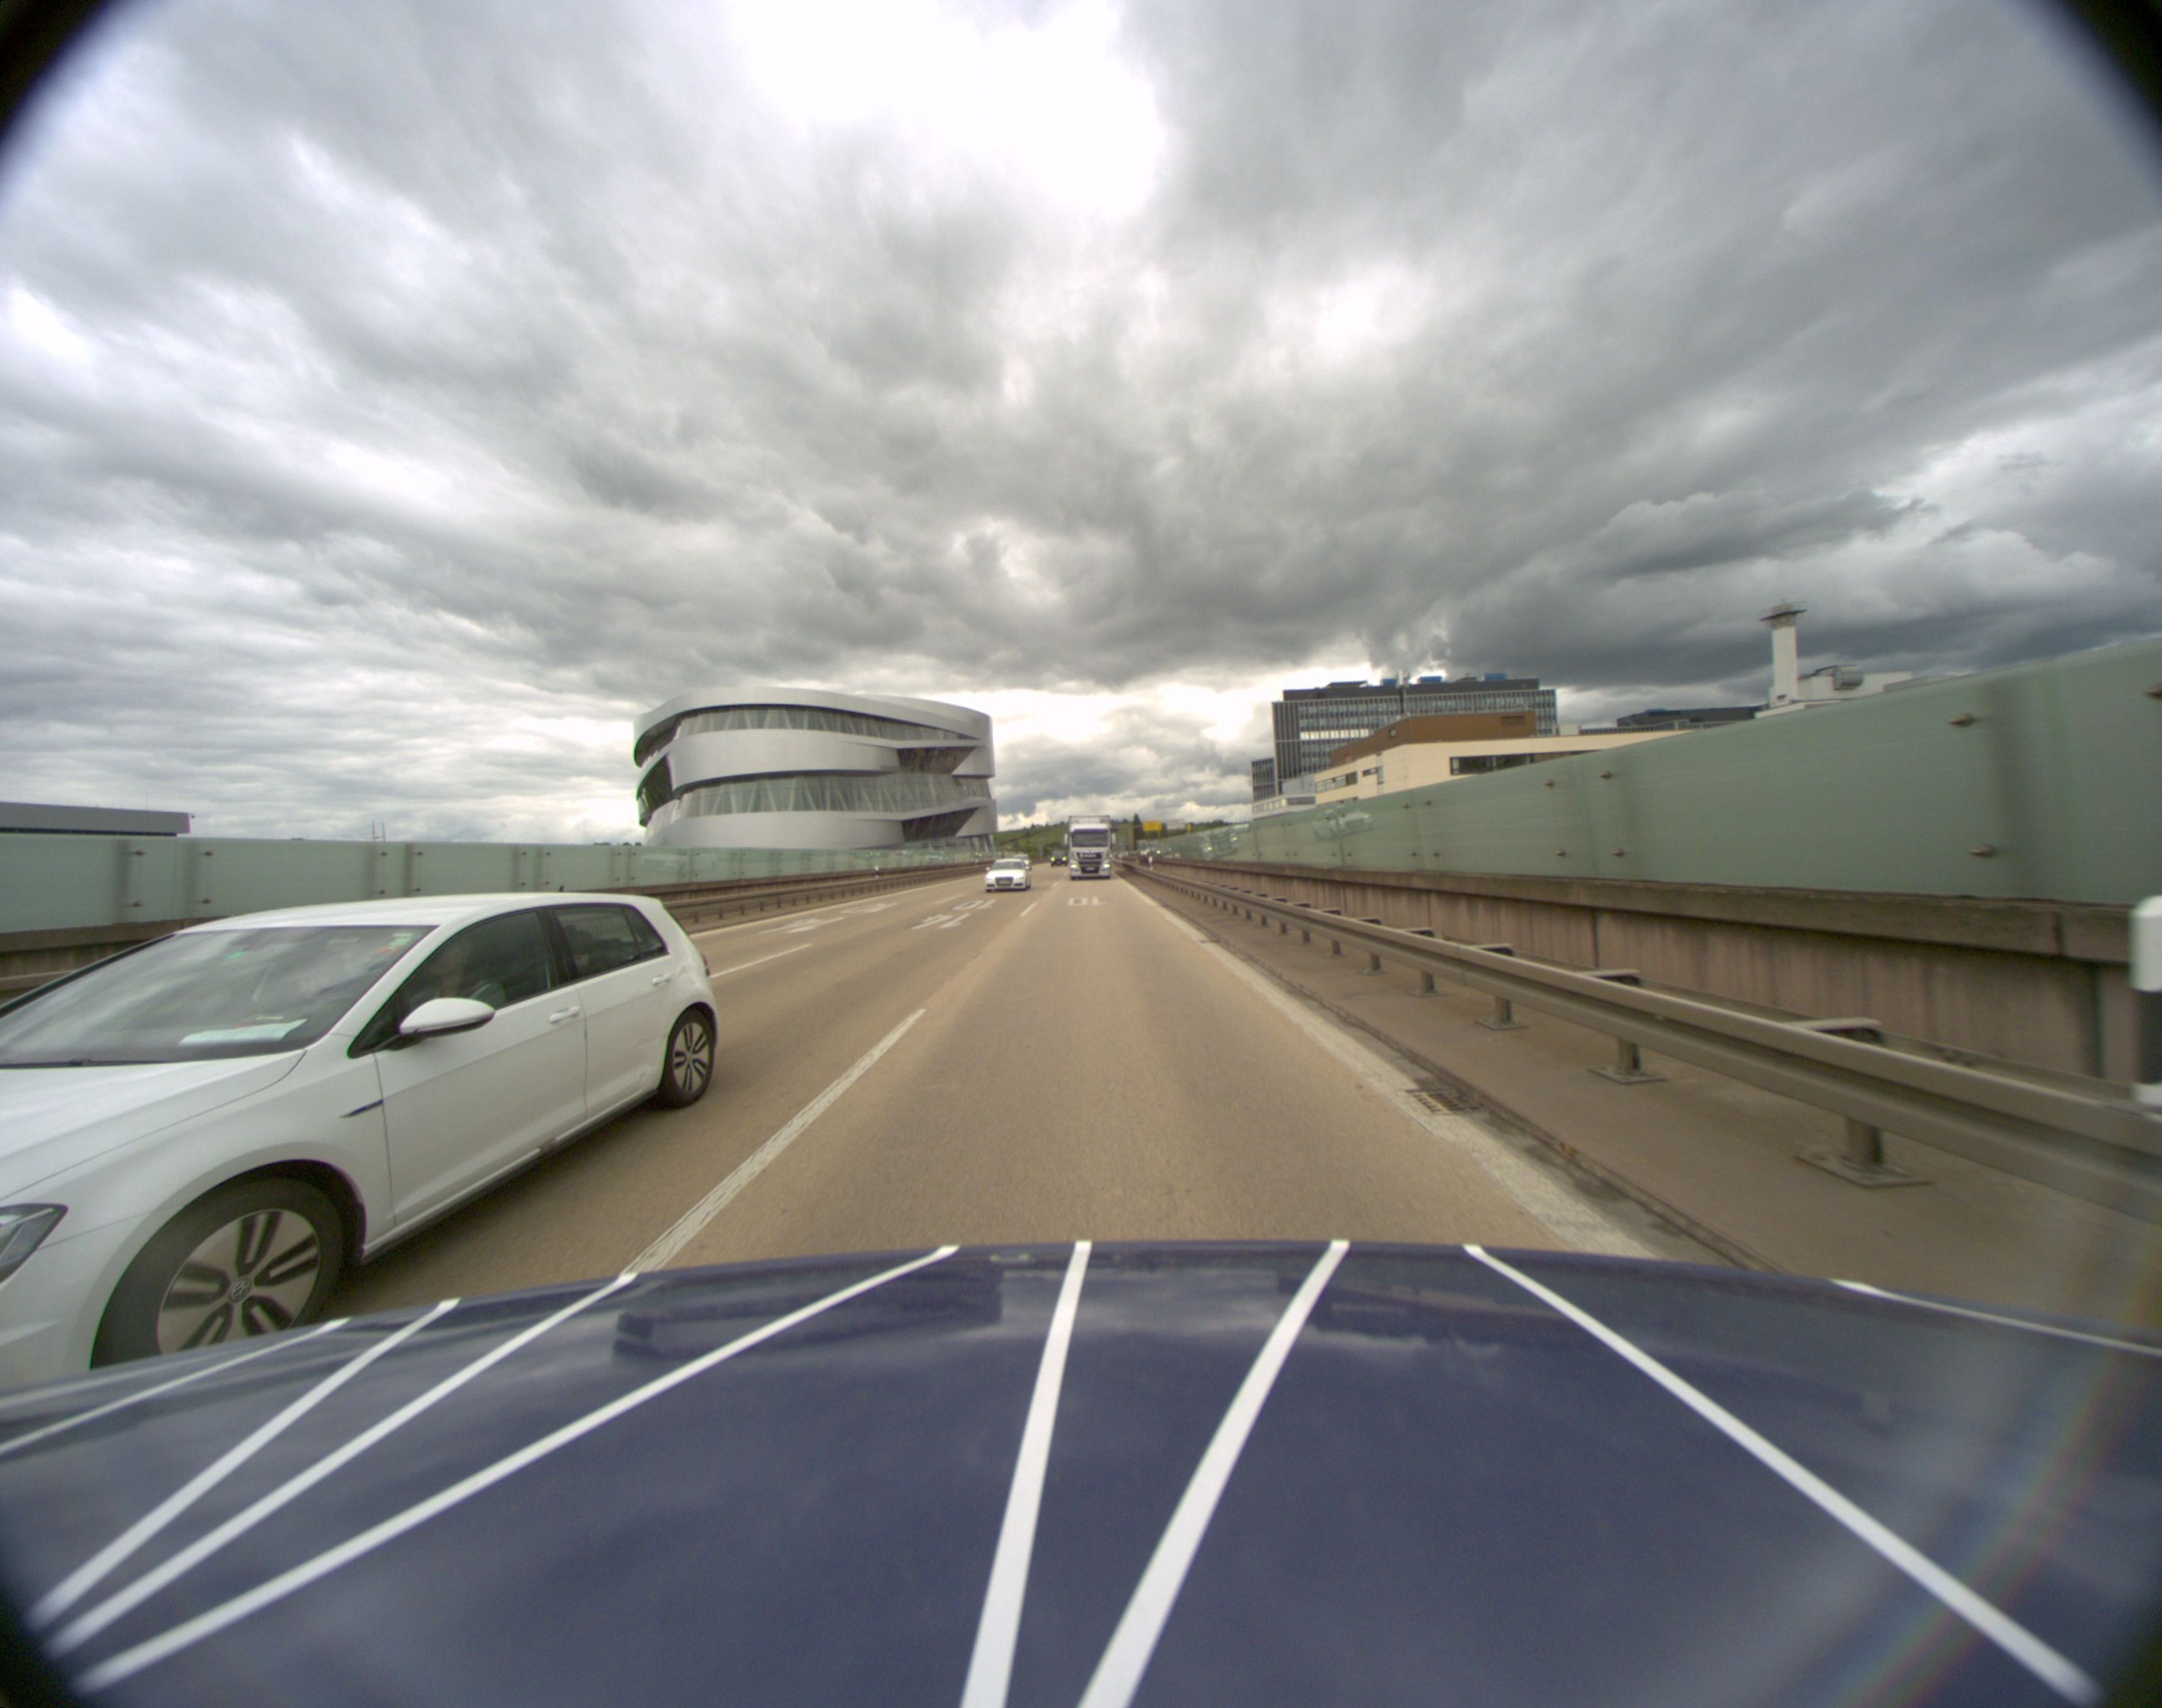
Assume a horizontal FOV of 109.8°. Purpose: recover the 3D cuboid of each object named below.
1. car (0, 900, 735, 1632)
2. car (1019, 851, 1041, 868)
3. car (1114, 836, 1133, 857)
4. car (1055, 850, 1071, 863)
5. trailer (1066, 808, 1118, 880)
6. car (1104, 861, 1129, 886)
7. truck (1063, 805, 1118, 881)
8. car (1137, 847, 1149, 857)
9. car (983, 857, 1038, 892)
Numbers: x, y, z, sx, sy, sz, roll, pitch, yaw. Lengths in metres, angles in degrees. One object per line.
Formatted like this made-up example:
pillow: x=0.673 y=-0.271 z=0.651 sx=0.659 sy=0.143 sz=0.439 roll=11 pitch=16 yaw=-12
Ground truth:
car: x=-3.362 y=1.091 z=3.303 sx=1.759 sy=1.443 sz=4.072 roll=-3 pitch=0 yaw=0
car: x=-5.148 y=0.511 z=77.150 sx=1.785 sy=1.624 sz=3.627 roll=-2 pitch=1 yaw=2
car: x=5.331 y=-0.984 z=96.044 sx=2.144 sy=2.494 sz=4.524 roll=-2 pitch=1 yaw=1
car: x=-2.238 y=0.310 z=95.592 sx=1.765 sy=1.624 sz=3.627 roll=-2 pitch=1 yaw=2
trailer: x=0.844 y=-0.619 z=49.742 sx=2.879 sy=4.104 sz=11.221 roll=-2 pitch=0 yaw=2
car: x=3.168 y=1.725 z=68.600 sx=1.998 sy=2.002 sz=4.000 roll=-2 pitch=1 yaw=0
truck: x=0.672 y=-0.625 z=45.726 sx=2.945 sy=4.136 sz=6.292 roll=-2 pitch=0 yaw=3
car: x=11.528 y=-0.401 z=141.037 sx=1.849 sy=1.663 sz=4.407 roll=-2 pitch=0 yaw=-1
car: x=-3.129 y=0.882 z=34.366 sx=1.848 sy=1.443 sz=3.933 roll=-2 pitch=0 yaw=3
